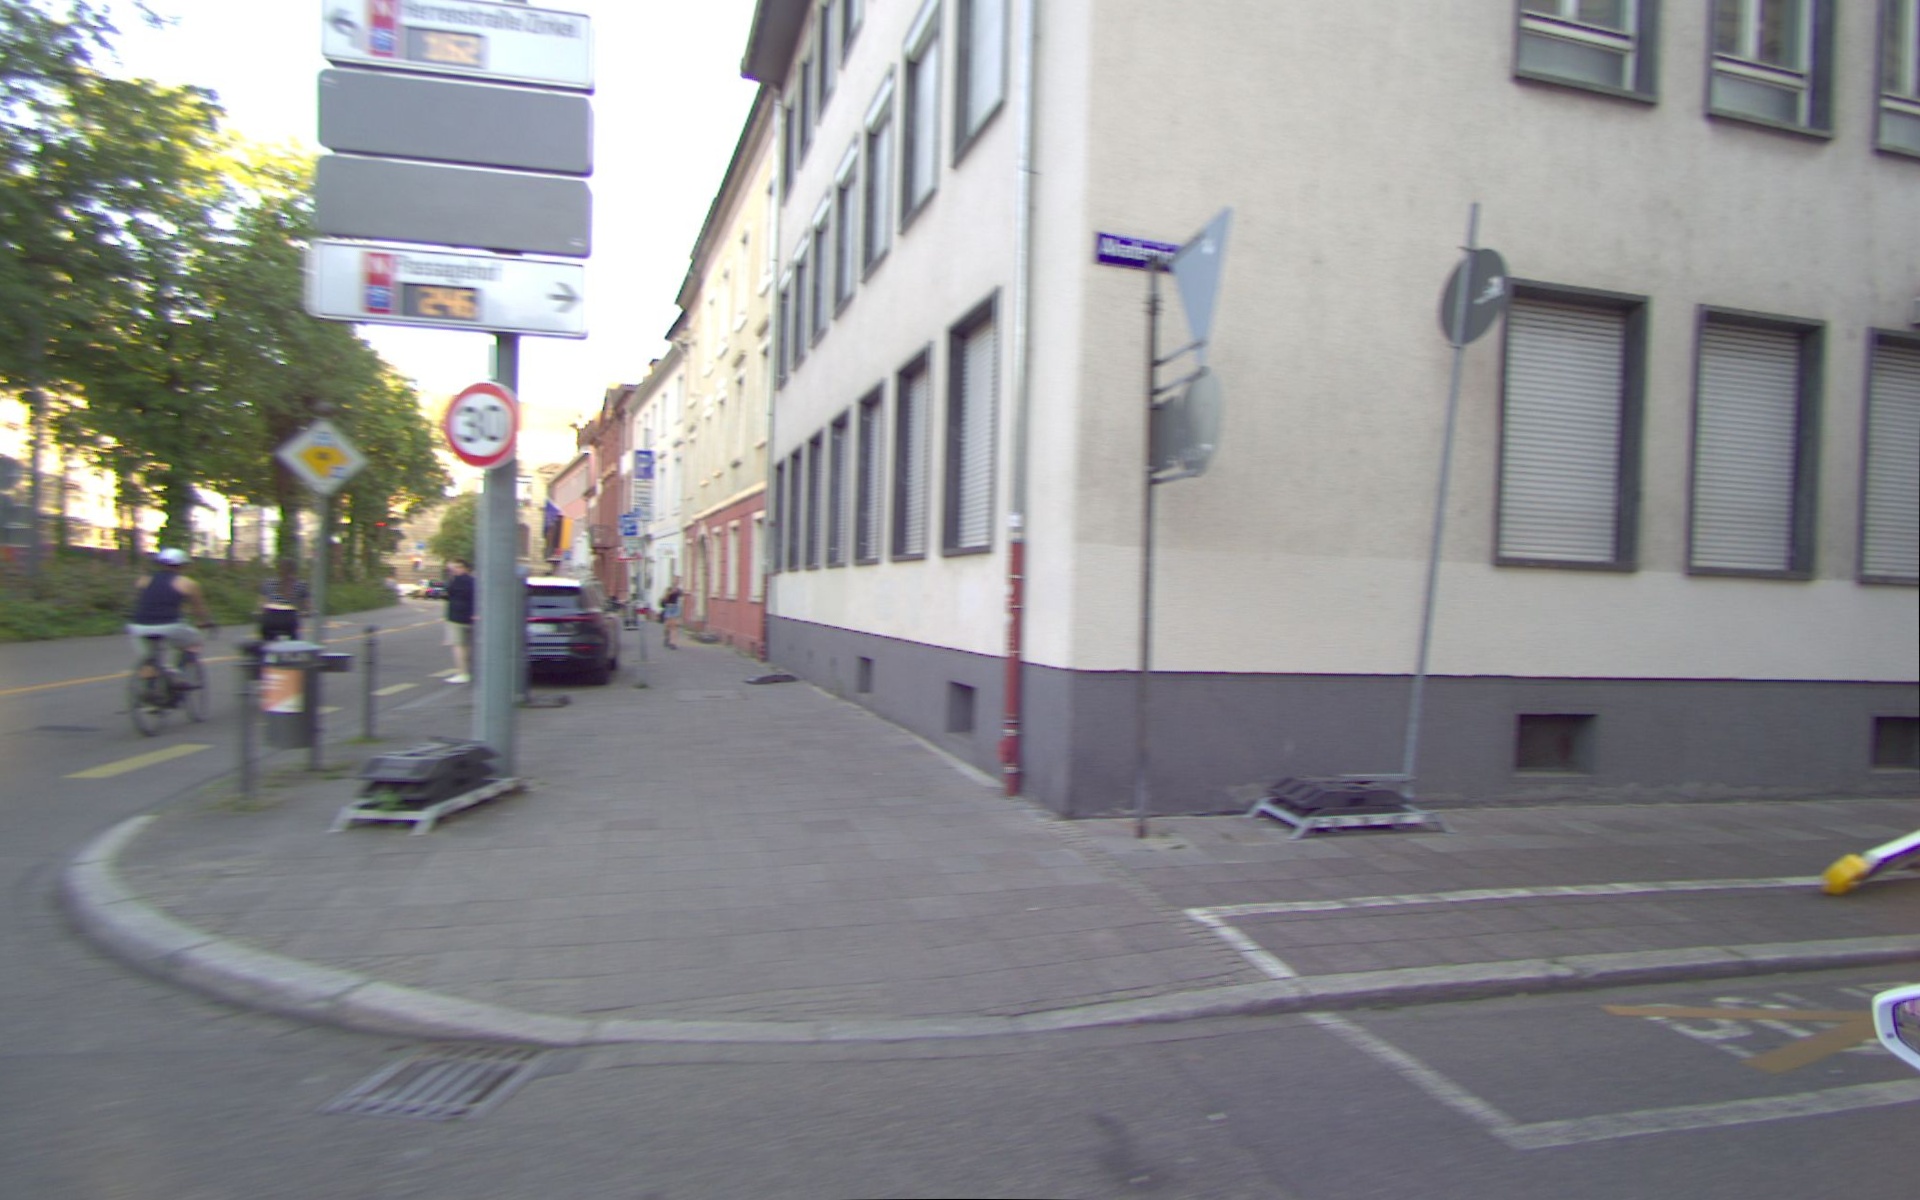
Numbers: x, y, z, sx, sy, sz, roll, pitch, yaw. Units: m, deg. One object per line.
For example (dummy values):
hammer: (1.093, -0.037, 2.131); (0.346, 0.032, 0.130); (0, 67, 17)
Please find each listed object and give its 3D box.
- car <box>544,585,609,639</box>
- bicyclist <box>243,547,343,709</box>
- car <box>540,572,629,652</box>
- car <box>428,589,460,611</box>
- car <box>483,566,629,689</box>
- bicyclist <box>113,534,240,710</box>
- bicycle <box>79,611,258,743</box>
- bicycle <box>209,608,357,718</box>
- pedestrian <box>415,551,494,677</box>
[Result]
car: (-12.348, 0.349, 32.277); (1.792, 1.581, 3.844); (2, 0, -22)
bicyclist: (-7.755, 0.313, 11.717); (0.641, 1.783, 0.861); (4, 0, -15)
car: (-8.997, 0.254, 24.082); (1.791, 1.706, 3.980); (2, 0, -21)
car: (-38.846, -0.015, 75.522); (1.798, 1.581, 3.831); (2, 0, -32)
car: (-6.349, 0.391, 16.175); (1.789, 1.705, 3.905); (2, 0, -17)
bicyclist: (-7.463, 0.204, 9.605); (0.660, 1.586, 0.696); (4, 0, -17)
bicycle: (-7.497, 0.685, 9.630); (0.661, 1.085, 1.894); (3, 0, -17)
bicycle: (-7.762, 0.673, 11.639); (0.644, 1.085, 2.251); (4, 0, -15)
pedestrian: (-7.931, 0.216, 15.749); (0.896, 1.890, 0.921); (2, 0, -39)
